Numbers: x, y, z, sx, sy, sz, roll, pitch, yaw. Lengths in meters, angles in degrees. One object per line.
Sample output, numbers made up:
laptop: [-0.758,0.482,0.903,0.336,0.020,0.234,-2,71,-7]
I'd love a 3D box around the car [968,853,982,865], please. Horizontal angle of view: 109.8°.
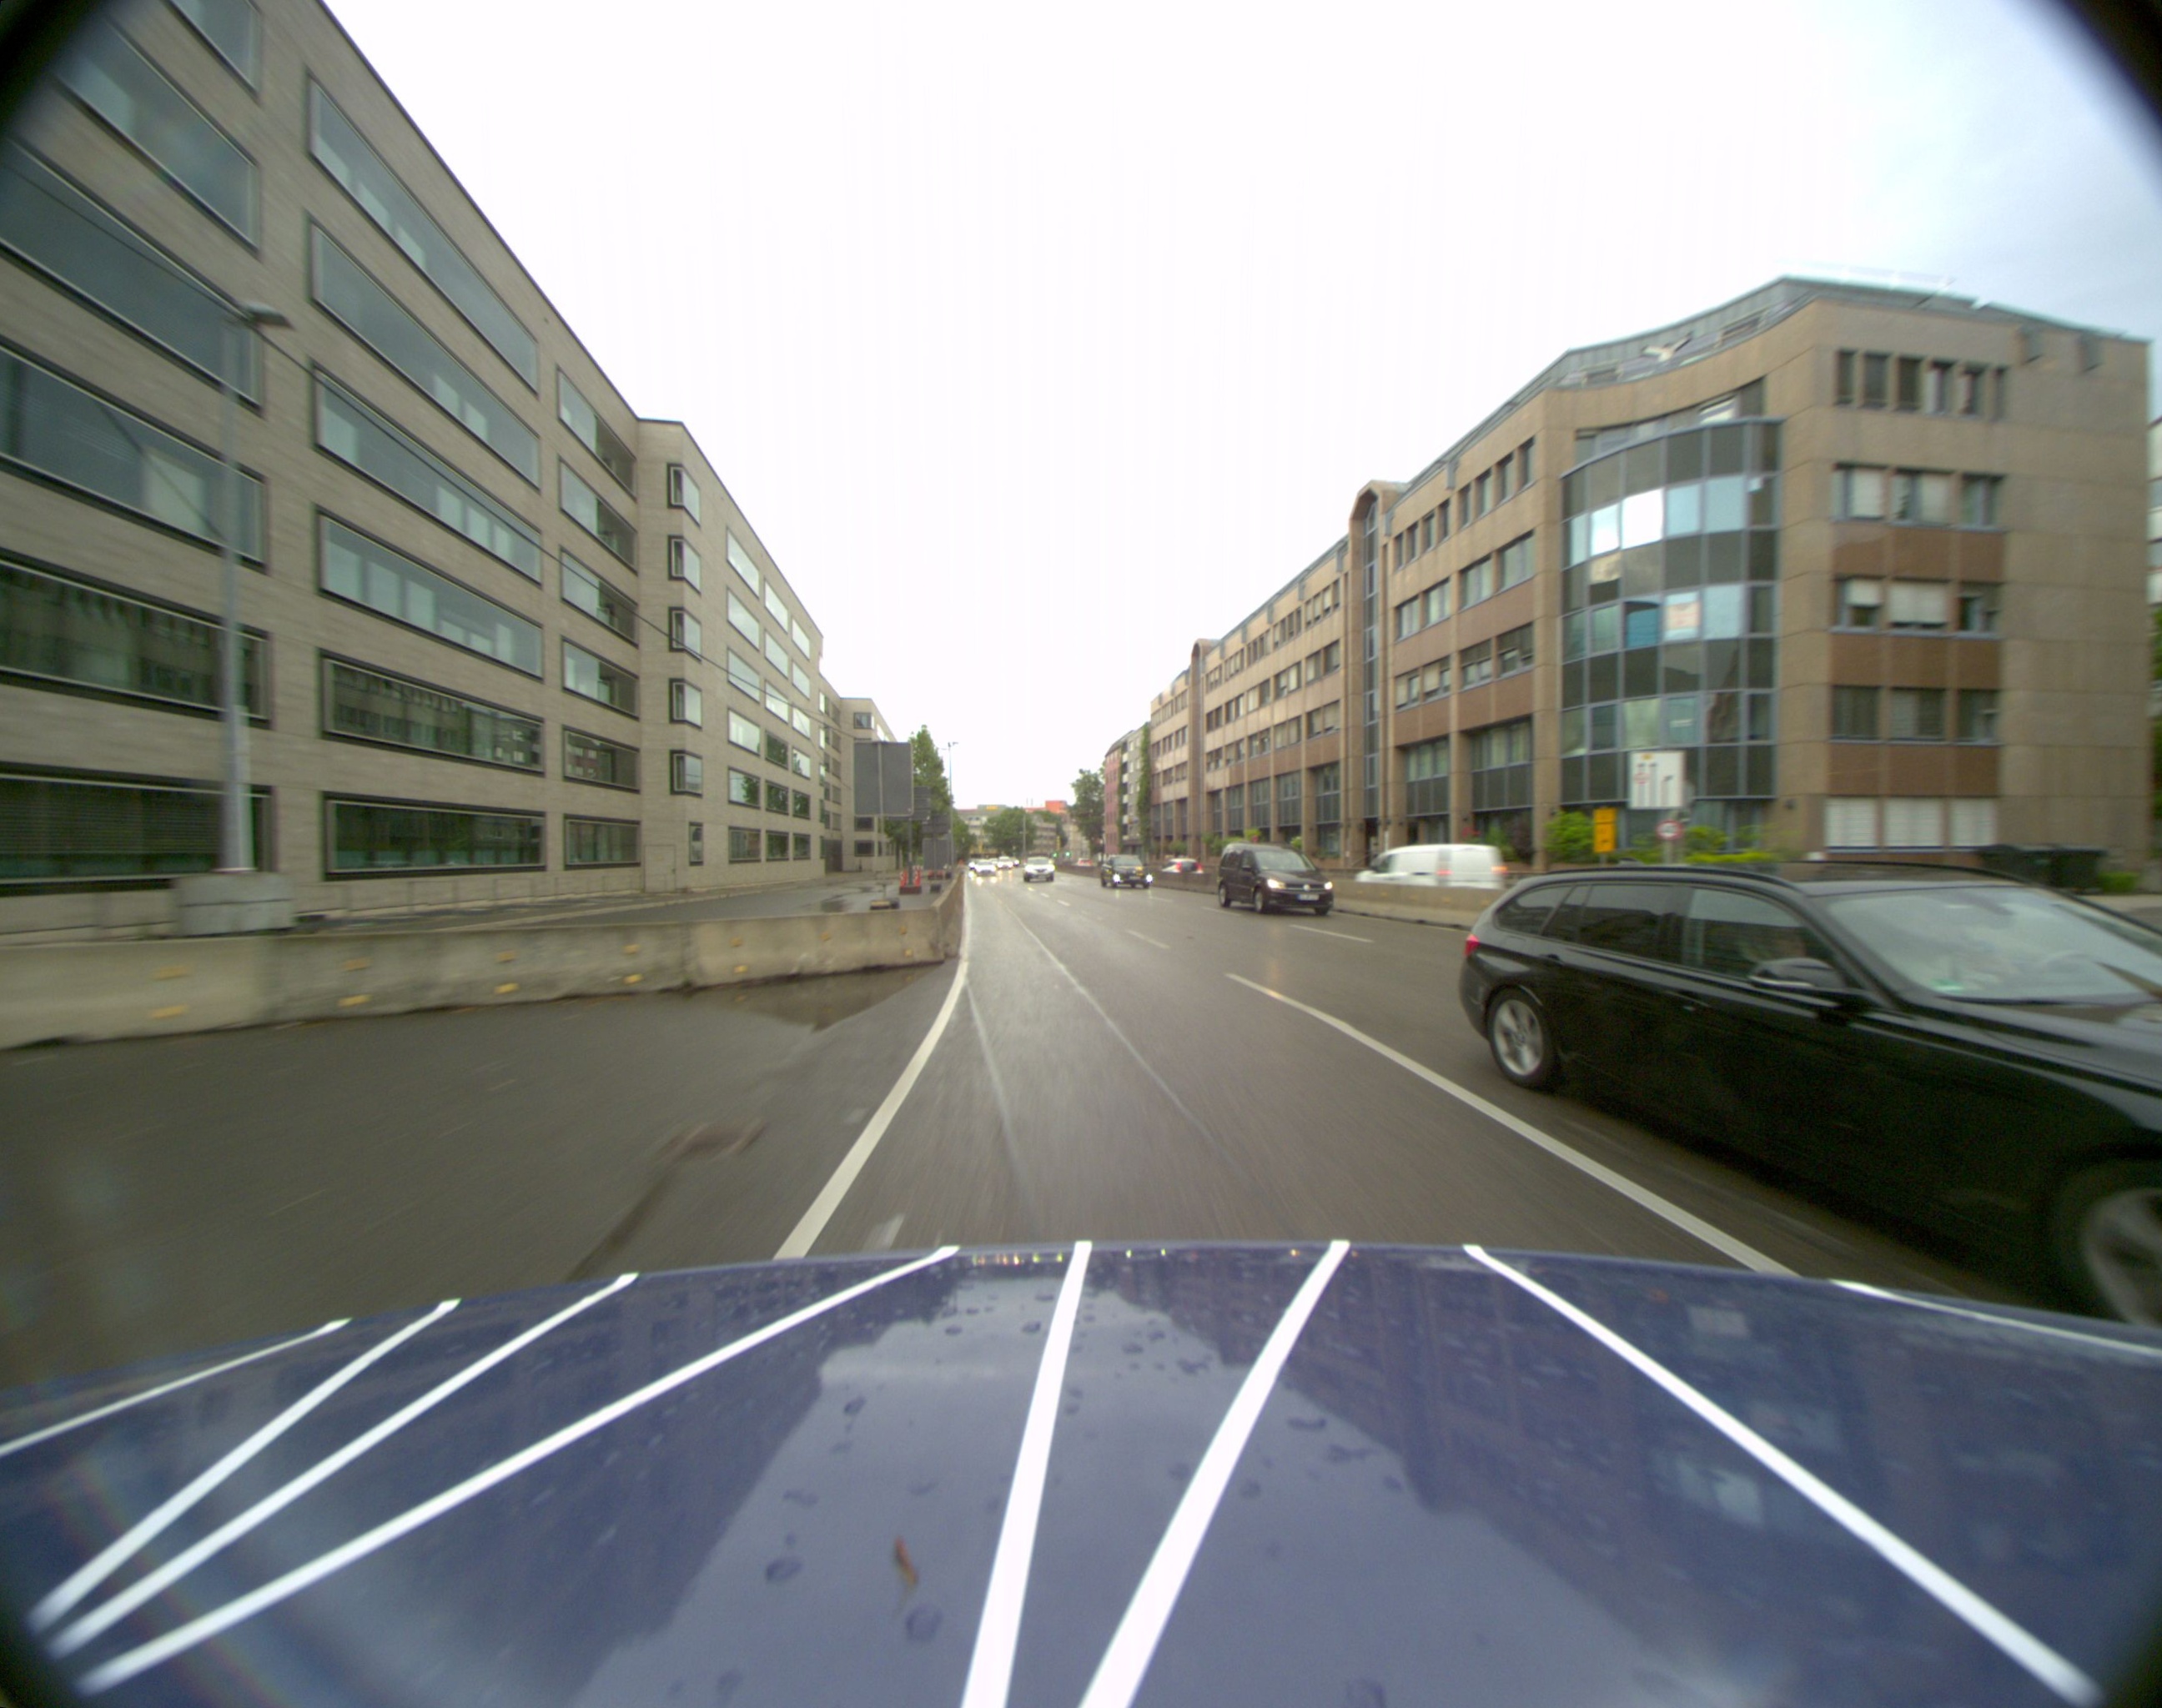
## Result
car: [-14.408,0.676,103.379,1.773,1.524,4.652,-1,0,-8]

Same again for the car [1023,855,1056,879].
car: [-2.852,0.831,51.547,1.773,1.524,4.652,-1,0,-8]

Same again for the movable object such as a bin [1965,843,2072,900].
movable object such as a bin: [25.364,0.456,20.597,1.246,1.471,1.350,0,0,-1]

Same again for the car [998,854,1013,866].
car: [-10.353,0.839,104.158,1.773,1.524,4.652,-1,0,-8]

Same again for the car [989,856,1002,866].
car: [-13.436,1.133,119.464,1.773,1.524,4.652,-1,0,-8]

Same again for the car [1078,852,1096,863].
car: [0.736,0.446,94.970,1.725,1.312,3.694,-1,0,-8]

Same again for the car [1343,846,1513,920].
car: [9.265,0.705,20.840,1.892,1.773,4.873,-1,0,-8]

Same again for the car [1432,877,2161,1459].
car: [3.680,0.902,3.395,1.773,1.435,4.654,-1,0,-5]

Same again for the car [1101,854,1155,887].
car: [2.229,0.765,37.197,1.773,1.524,4.352,-1,0,-8]

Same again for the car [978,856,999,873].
car: [-8.775,0.996,71.910,1.773,1.524,4.652,-1,0,-8]

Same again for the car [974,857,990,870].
car: [-11.535,1.077,88.626,1.773,1.524,4.652,-1,0,-8]

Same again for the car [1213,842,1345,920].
car: [4.958,0.618,19.694,1.800,1.790,4.247,-1,0,-8]

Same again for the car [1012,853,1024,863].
car: [-10.516,0.648,126.485,1.773,1.524,4.652,-1,0,-8]

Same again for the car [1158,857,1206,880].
car: [5.639,0.780,42.817,1.618,1.224,3.723,-1,0,-10]

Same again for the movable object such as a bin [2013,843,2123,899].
movable object such as a bin: [26.815,0.441,20.676,1.246,1.471,1.350,0,0,-1]
